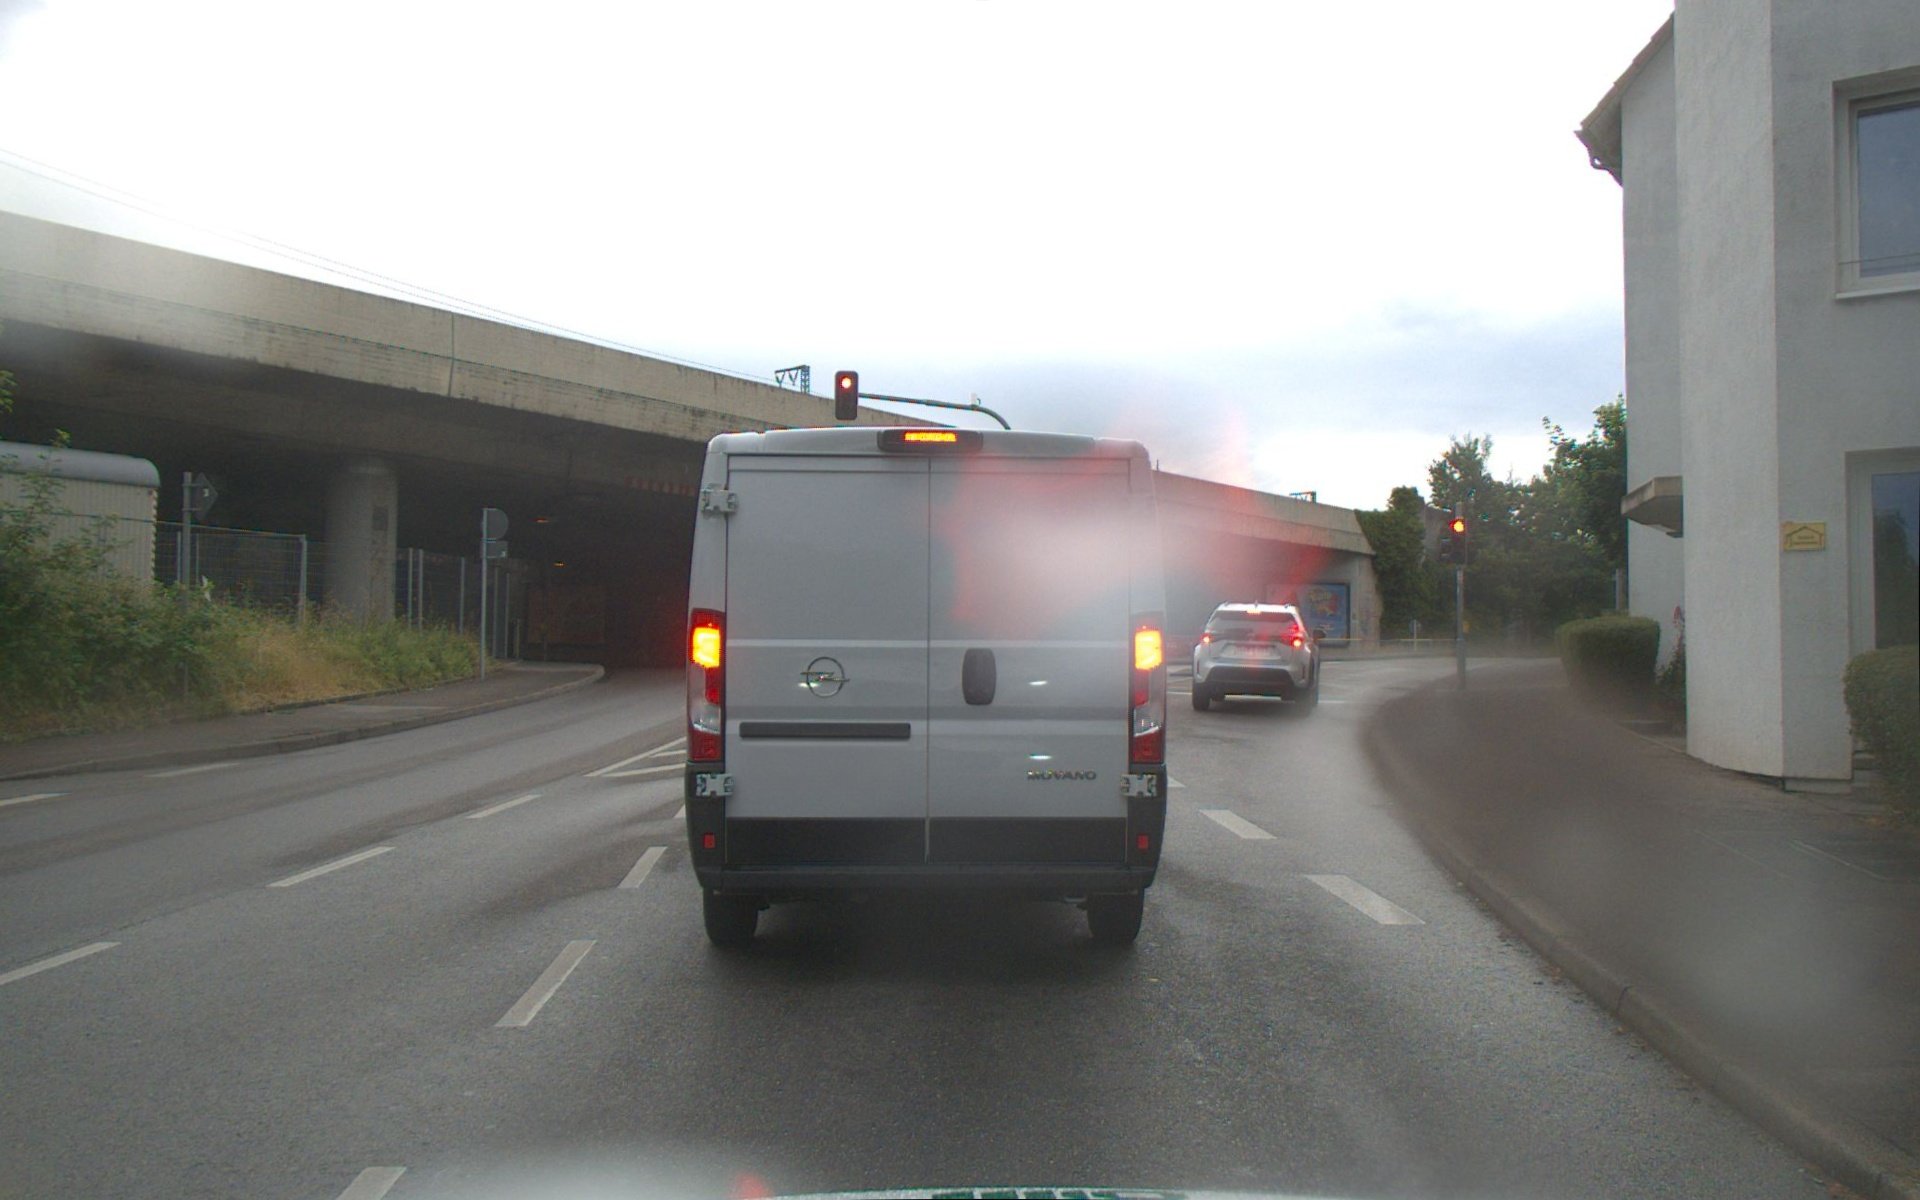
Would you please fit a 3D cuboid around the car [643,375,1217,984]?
[{"bbox_3d":[-0.207,0.317,9.168,2.259,2.384,5.280,0,0,-2],"label":"car"}]

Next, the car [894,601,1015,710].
[{"bbox_3d":[-0.016,0.954,28.895,1.952,1.759,4.000,0,-2,2],"label":"car"}]

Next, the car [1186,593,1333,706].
[{"bbox_3d":[4.654,0.725,25.283,1.951,1.576,4.003,0,-1,14],"label":"car"}]
